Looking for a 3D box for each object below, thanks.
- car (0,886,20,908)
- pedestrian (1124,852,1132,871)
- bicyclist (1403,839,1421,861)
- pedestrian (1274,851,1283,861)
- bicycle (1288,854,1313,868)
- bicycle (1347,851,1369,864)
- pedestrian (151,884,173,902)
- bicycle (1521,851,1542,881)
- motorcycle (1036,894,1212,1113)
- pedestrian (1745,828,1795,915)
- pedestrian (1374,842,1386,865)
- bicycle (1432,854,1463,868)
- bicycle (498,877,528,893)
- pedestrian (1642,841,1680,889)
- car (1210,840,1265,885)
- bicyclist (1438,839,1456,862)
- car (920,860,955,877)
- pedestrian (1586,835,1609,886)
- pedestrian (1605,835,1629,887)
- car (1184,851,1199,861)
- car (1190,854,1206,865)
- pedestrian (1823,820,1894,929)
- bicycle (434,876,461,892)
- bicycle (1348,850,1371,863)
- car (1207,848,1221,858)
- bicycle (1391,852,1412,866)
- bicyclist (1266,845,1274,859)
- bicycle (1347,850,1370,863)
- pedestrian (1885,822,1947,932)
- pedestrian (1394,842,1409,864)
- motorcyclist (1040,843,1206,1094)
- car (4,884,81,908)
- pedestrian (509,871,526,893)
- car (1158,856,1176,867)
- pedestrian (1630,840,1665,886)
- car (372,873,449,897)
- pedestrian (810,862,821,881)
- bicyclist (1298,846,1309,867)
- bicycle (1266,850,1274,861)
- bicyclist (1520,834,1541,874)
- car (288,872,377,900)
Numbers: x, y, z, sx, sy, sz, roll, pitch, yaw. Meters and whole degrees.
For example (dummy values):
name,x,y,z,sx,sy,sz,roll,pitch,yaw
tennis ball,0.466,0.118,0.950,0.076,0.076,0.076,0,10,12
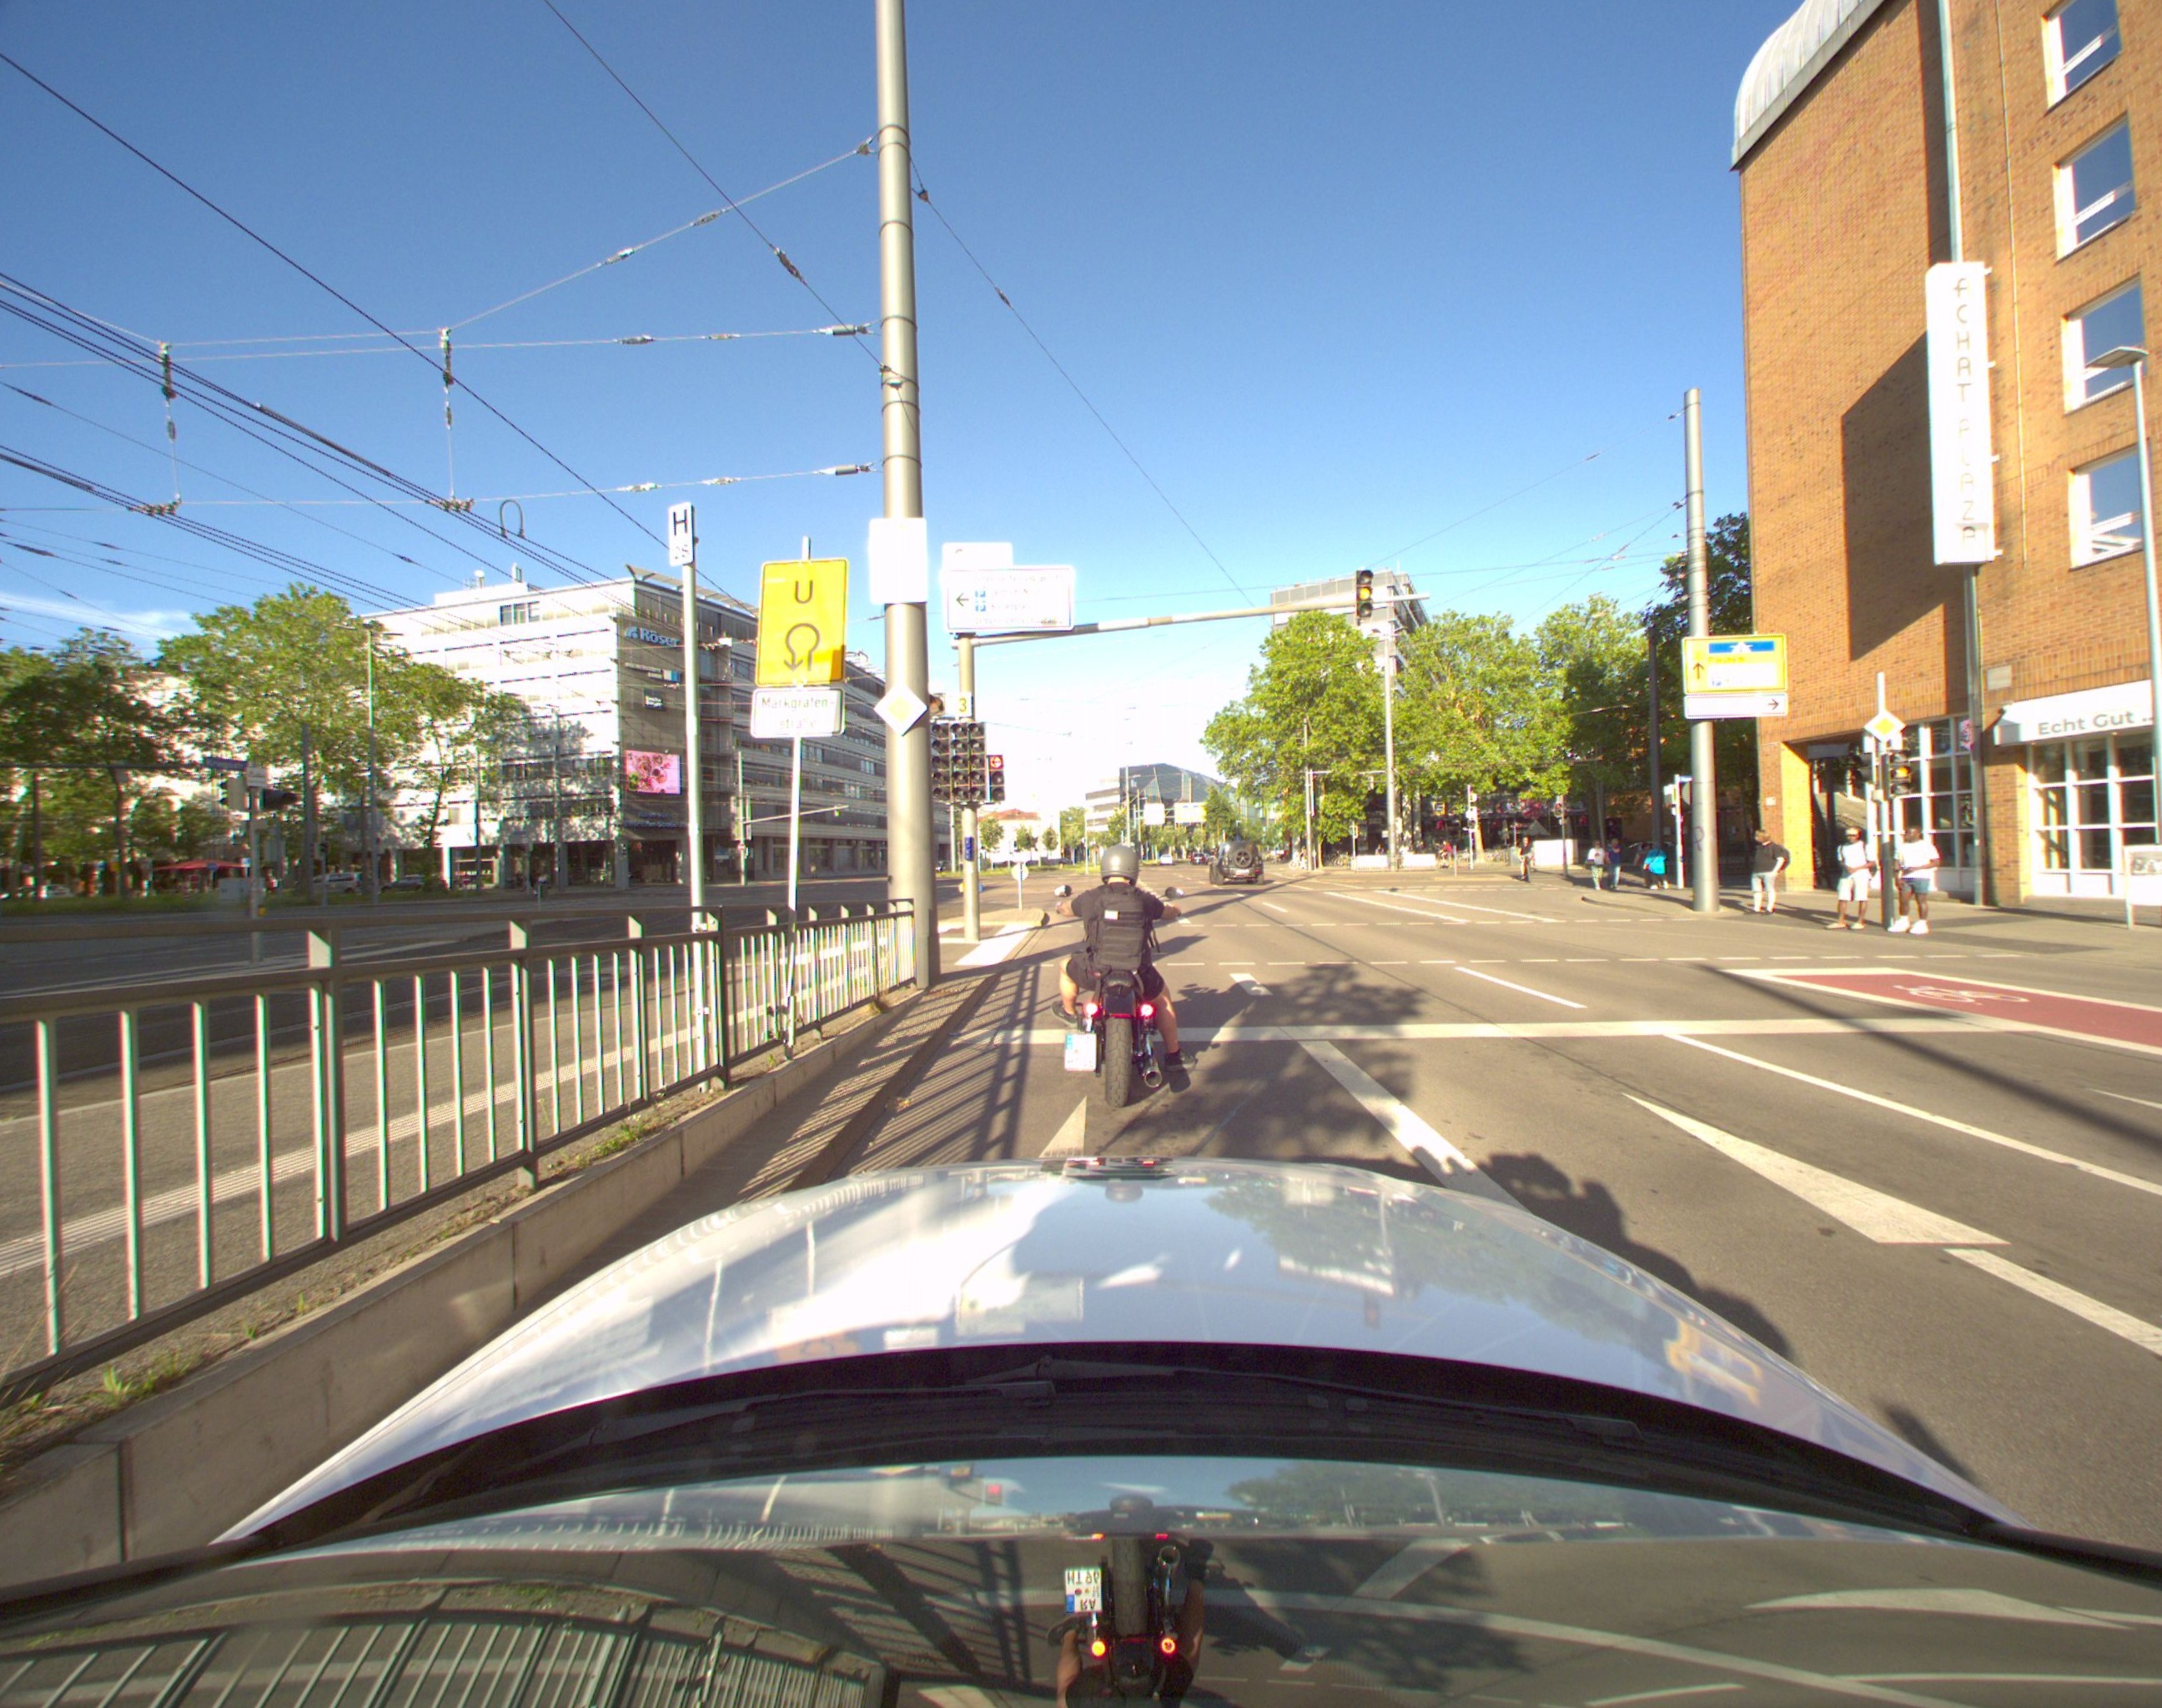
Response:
name,x,y,z,sx,sy,sz,roll,pitch,yaw
car,-85.489,3.404,63.086,4.056,1.629,1.995,-2,1,2
pedestrian,3.988,0.639,69.411,0.654,1.582,0.490,-1,0,5
bicyclist,29.206,-0.329,71.826,1.221,1.931,0.836,-1,0,4
pedestrian,21.940,0.218,90.330,0.777,1.057,0.819,-2,0,24
bicycle,17.507,0.559,64.983,1.840,1.021,0.518,-2,-1,13
bicycle,22.759,0.265,66.922,1.692,0.986,0.392,-2,0,15
pedestrian,-81.919,3.431,72.610,0.985,1.546,0.875,-2,-1,9
bicycle,17.799,0.458,32.187,0.595,1.050,1.893,-6,0,29
motorcycle,0.283,0.914,5.818,1.002,1.125,2.324,0,0,2
pedestrian,14.304,0.344,16.908,0.577,1.767,0.687,-1,1,-39
pedestrian,24.843,-0.029,67.709,0.840,1.852,0.813,1,0,16
bicycle,25.284,0.496,56.178,1.844,0.910,0.653,-2,0,6
bicycle,-43.384,2.358,62.201,1.834,1.163,0.613,-1,3,3
pedestrian,18.828,0.346,26.457,0.674,1.540,0.741,0,-1,-6
car,6.920,0.372,36.443,2.043,1.874,4.234,0,-1,6
bicyclist,25.229,-0.242,56.184,0.921,1.615,0.638,-2,0,5
car,-13.897,1.371,79.138,1.779,1.465,4.327,-2,0,13
pedestrian,17.390,0.224,27.417,0.556,1.704,0.663,-1,-1,40
pedestrian,17.903,0.226,27.205,0.596,1.727,0.606,-1,-1,40
car,17.475,0.302,128.925,1.759,1.514,3.749,-2,0,17
car,15.762,0.753,109.614,1.830,1.464,4.012,-1,-1,11
pedestrian,13.597,0.355,14.248,0.500,1.833,0.725,-3,-1,-33
bicycle,-51.219,2.407,65.857,0.466,1.151,1.844,-1,1,9
bicycle,22.308,0.182,65.176,1.692,0.986,0.392,-2,0,15
car,24.080,-0.160,147.693,1.705,1.657,3.774,-2,0,22
bicycle,23.498,0.353,59.690,0.782,1.052,1.935,-1,-1,42
bicyclist,25.713,-0.228,110.698,0.853,1.841,1.262,-2,0,17
bicycle,22.503,0.219,66.017,1.692,0.986,0.392,-2,0,15
pedestrian,13.801,0.376,13.466,0.407,1.774,0.573,-3,-1,-33
pedestrian,23.520,-0.072,59.720,0.762,1.594,0.843,-1,-1,41
motorcyclist,0.280,0.711,5.709,1.018,1.552,1.287,0,0,1
car,-79.770,3.209,62.580,3.835,1.638,1.869,-2,0,6
pedestrian,-43.286,2.148,62.565,0.831,1.610,0.607,0,3,5
car,11.345,0.985,107.056,1.889,1.508,4.013,-1,-1,12
pedestrian,19.092,0.298,27.454,0.649,1.540,0.741,0,-1,-6
car,-50.478,2.340,61.349,4.378,1.572,1.869,-2,2,6
pedestrian,-26.802,1.752,82.218,0.670,1.823,0.888,-3,-1,12
bicyclist,17.761,0.196,64.939,0.737,1.694,0.572,-2,-1,13
bicycle,25.729,0.226,110.634,0.853,1.481,2.587,-2,0,17
bicyclist,17.824,0.001,32.285,0.573,1.515,0.855,-5,1,30
car,-56.226,2.383,61.248,4.888,1.843,1.930,-2,2,3
